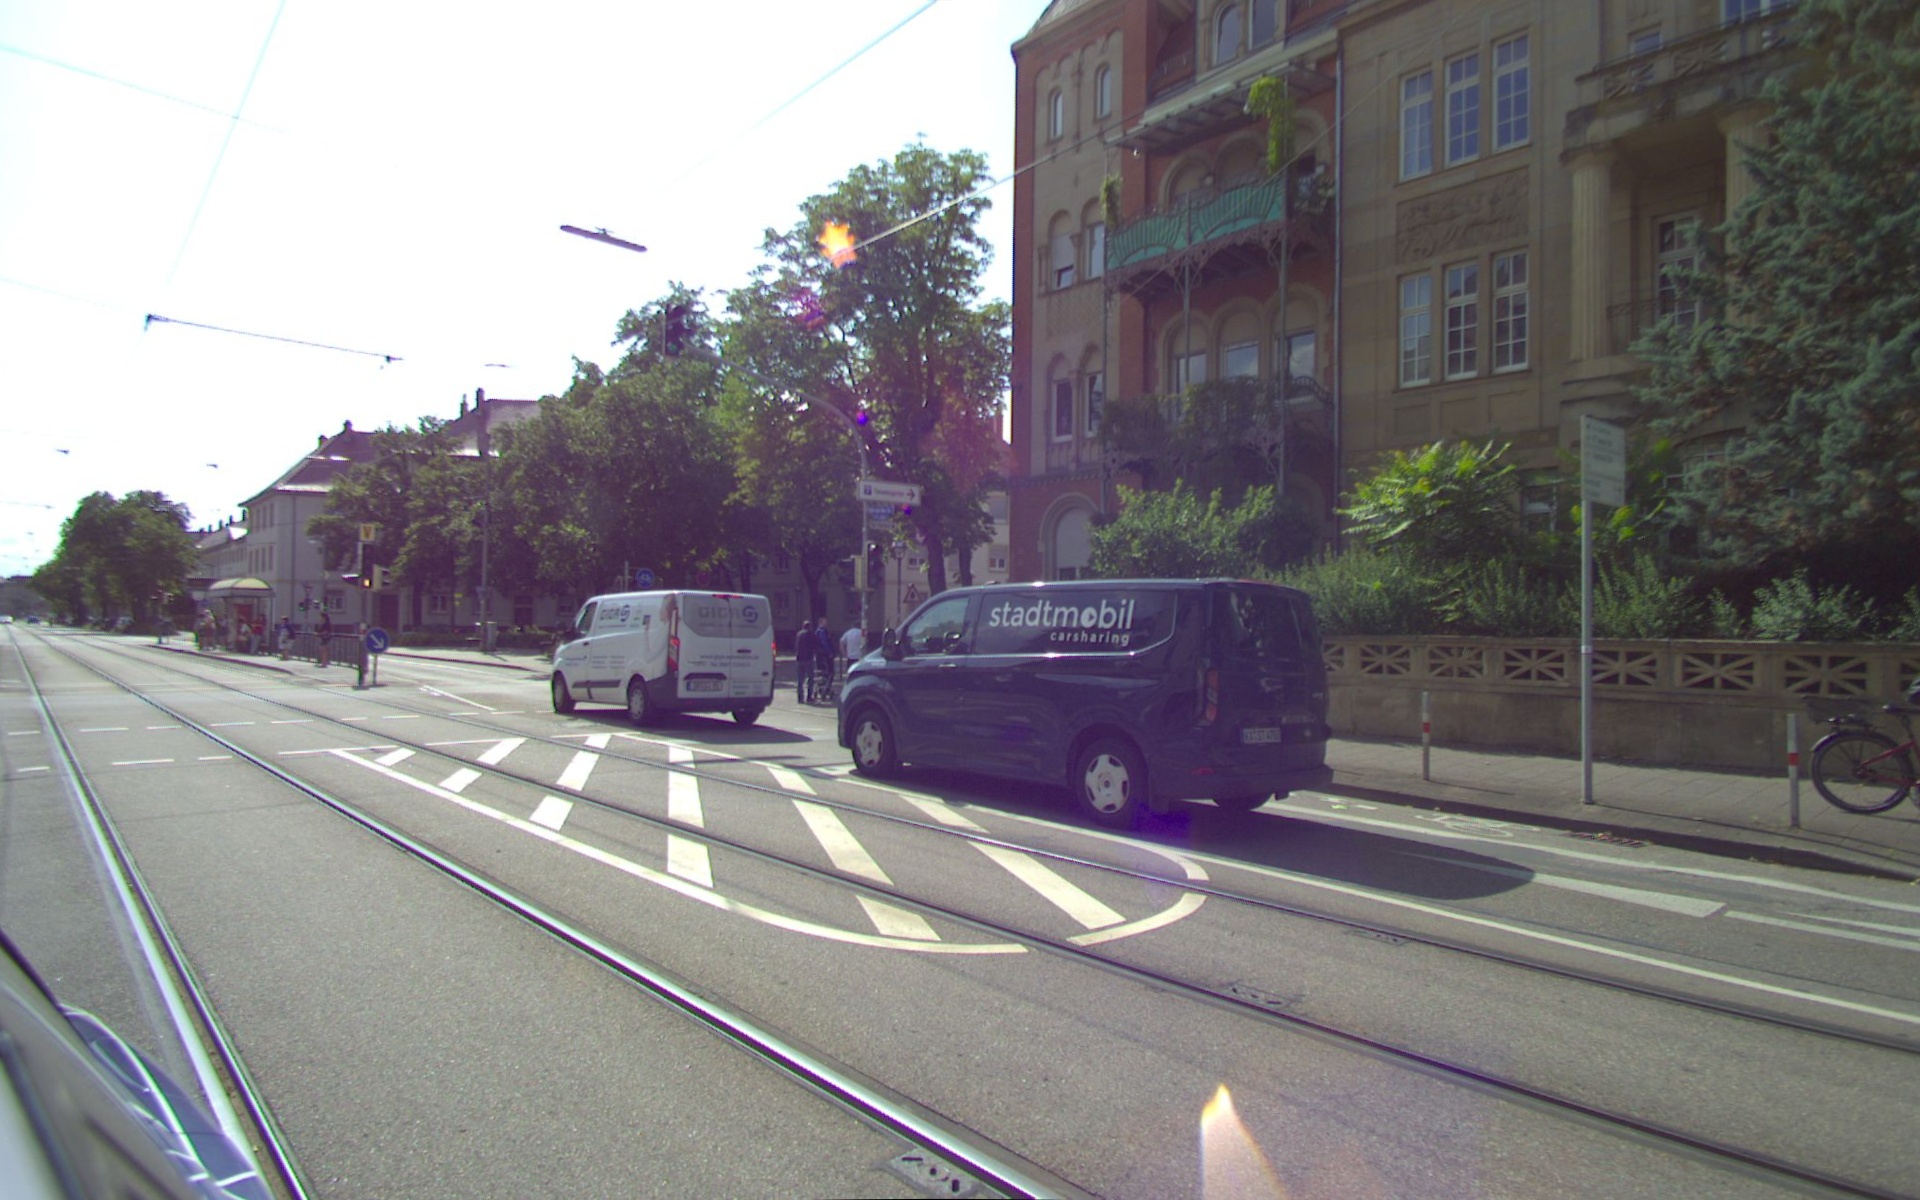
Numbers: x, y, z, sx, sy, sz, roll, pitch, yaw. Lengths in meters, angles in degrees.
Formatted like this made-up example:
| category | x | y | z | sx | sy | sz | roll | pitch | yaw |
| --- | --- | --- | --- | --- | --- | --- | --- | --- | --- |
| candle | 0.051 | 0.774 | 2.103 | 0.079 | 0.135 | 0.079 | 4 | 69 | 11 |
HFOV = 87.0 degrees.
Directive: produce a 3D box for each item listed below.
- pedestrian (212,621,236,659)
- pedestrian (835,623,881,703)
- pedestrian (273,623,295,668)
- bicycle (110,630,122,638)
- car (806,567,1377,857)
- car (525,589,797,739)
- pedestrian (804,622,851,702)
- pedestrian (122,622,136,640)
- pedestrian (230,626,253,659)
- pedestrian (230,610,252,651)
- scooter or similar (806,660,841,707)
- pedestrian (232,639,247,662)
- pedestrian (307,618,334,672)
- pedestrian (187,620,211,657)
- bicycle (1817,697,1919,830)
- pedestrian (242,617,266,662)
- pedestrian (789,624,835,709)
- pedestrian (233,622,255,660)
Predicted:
| category | x | y | z | sx | sy | sz | roll | pitch | yaw |
| --- | --- | --- | --- | --- | --- | --- | --- | --- | --- |
| pedestrian | -32.387 | 1.756 | 44.518 | 0.648 | 1.654 | 0.639 | 7 | -5 | -44 |
| pedestrian | -2.166 | 1.331 | 21.570 | 0.724 | 1.669 | 0.606 | -2 | -1 | 32 |
| pedestrian | -23.268 | 1.572 | 34.811 | 0.422 | 1.515 | 0.704 | 5 | -4 | -44 |
| bicycle | -90.010 | 3.634 | 107.884 | 1.618 | 0.855 | 0.745 | -1 | -3 | 42 |
| car | 0.880 | 0.830 | 9.303 | 1.904 | 1.931 | 5.129 | 5 | -4 | -43 |
| car | -4.908 | 0.936 | 16.102 | 1.970 | 2.010 | 5.093 | 5 | -4 | -43 |
| pedestrian | -2.939 | 1.362 | 22.442 | 0.847 | 1.711 | 0.617 | -1 | 0 | 34 |
| pedestrian | -70.569 | 2.646 | 85.955 | 0.806 | 1.485 | 0.794 | -1 | -3 | 42 |
| pedestrian | -29.771 | 1.756 | 41.937 | 0.406 | 1.347 | 0.597 | 0 | -4 | 40 |
| pedestrian | -29.776 | 1.258 | 41.925 | 0.678 | 1.682 | 0.491 | 0 | -4 | 40 |
| scooter or similar | -2.824 | 1.719 | 20.980 | 0.498 | 0.929 | 0.543 | -1 | 0 | 32 |
| pedestrian | -29.906 | 2.101 | 42.008 | 0.346 | 0.937 | 0.335 | 0 | -4 | 40 |
| pedestrian | -18.681 | 1.326 | 29.549 | 0.530 | 1.554 | 0.516 | 3 | -5 | -44 |
| pedestrian | -34.643 | 1.751 | 46.059 | 0.638 | 1.619 | 0.649 | 0 | -4 | 40 |
| bicycle | 8.233 | 1.345 | 8.211 | 1.861 | 0.940 | 0.987 | -2 | 0 | 45 |
| pedestrian | -27.175 | 1.517 | 38.941 | 0.467 | 1.669 | 0.746 | 8 | -6 | -44 |
| pedestrian | -2.985 | 1.324 | 20.425 | 0.750 | 1.669 | 0.516 | -1 | 0 | 33 |
| pedestrian | -28.253 | 1.625 | 39.922 | 0.692 | 1.468 | 0.523 | -1 | -4 | 45 |
